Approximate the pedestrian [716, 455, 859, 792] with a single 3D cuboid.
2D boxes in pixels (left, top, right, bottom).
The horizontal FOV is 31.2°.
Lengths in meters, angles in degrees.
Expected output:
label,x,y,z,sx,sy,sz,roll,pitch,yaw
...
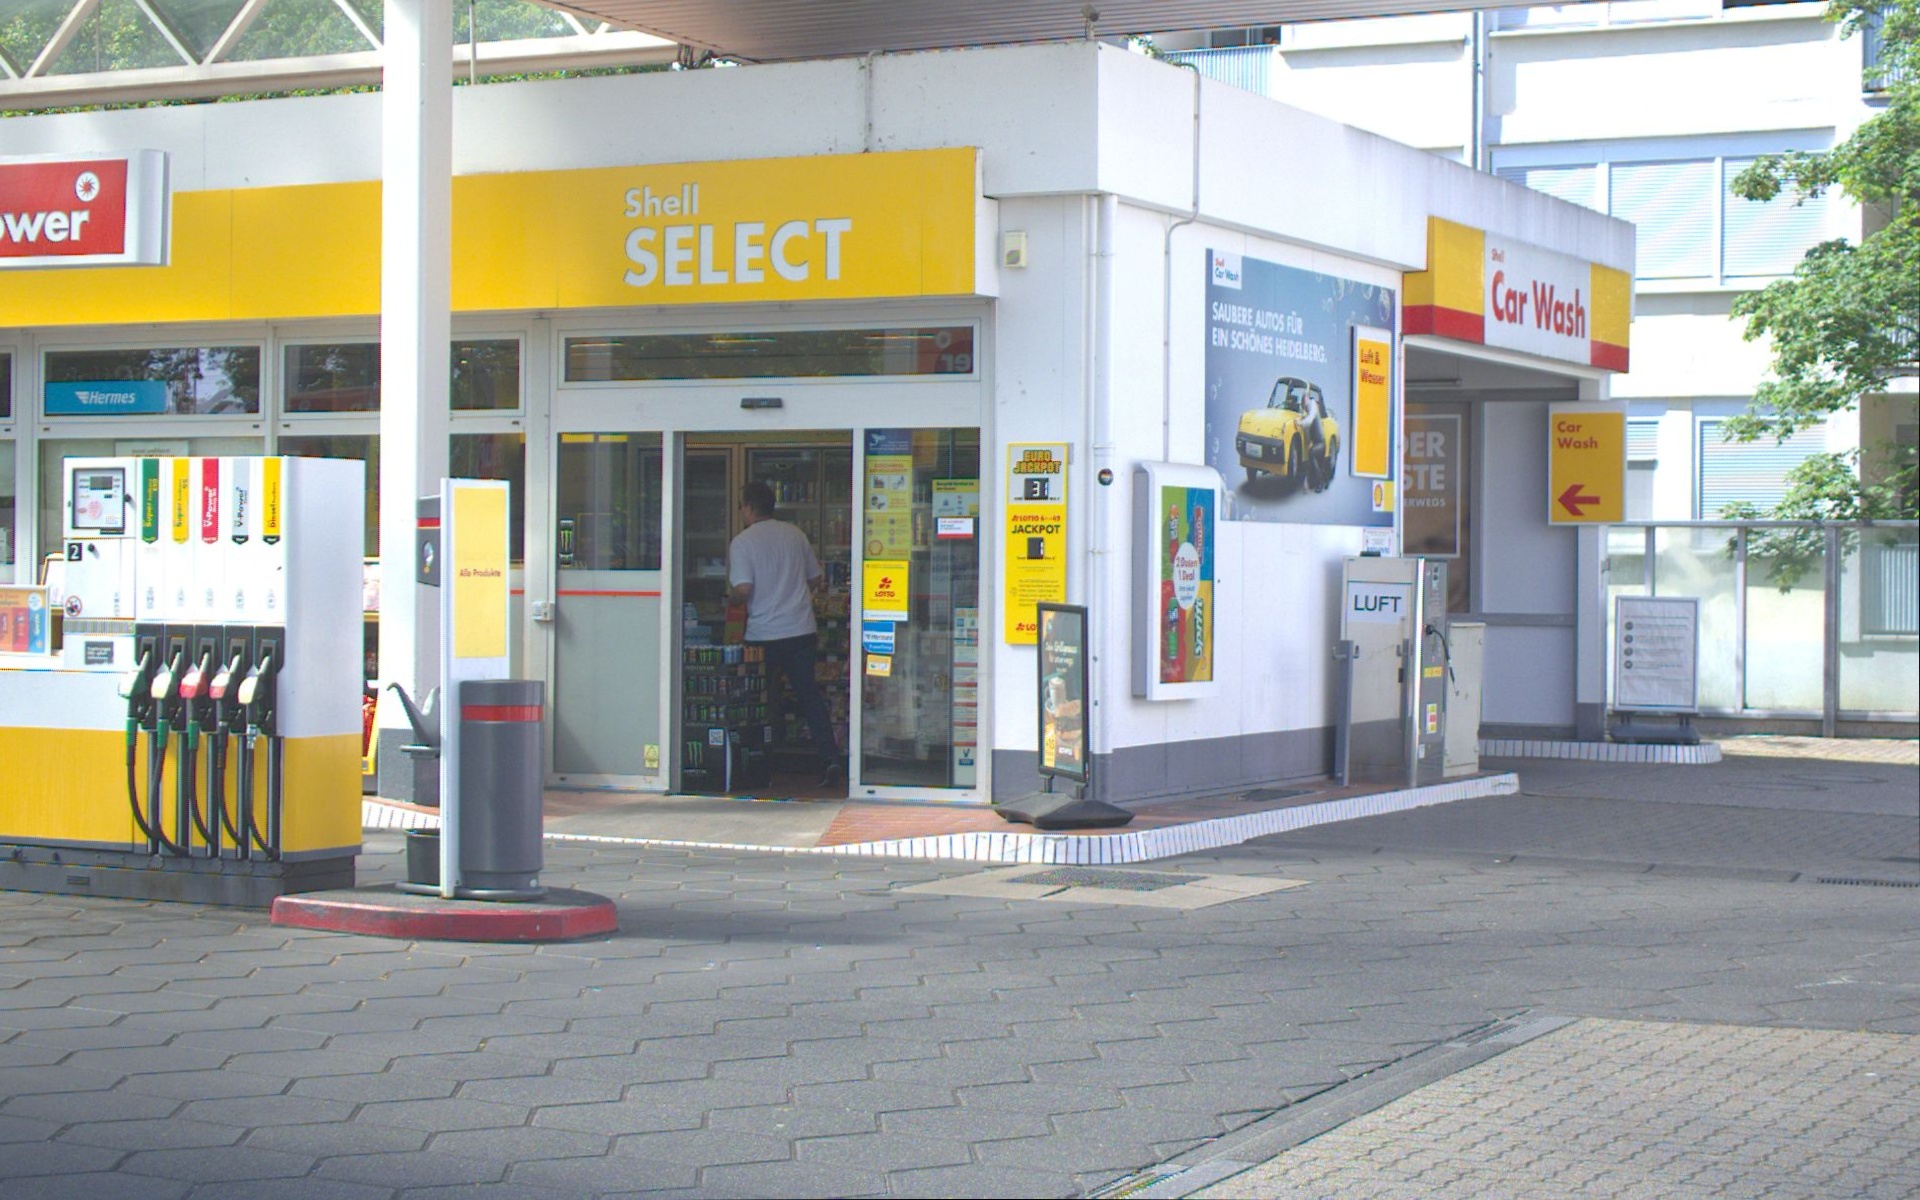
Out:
label,x,y,z,sx,sy,sz,roll,pitch,yaw
pedestrian,-1.047,0.136,20.943,0.622,2.007,0.742,1,0,18
